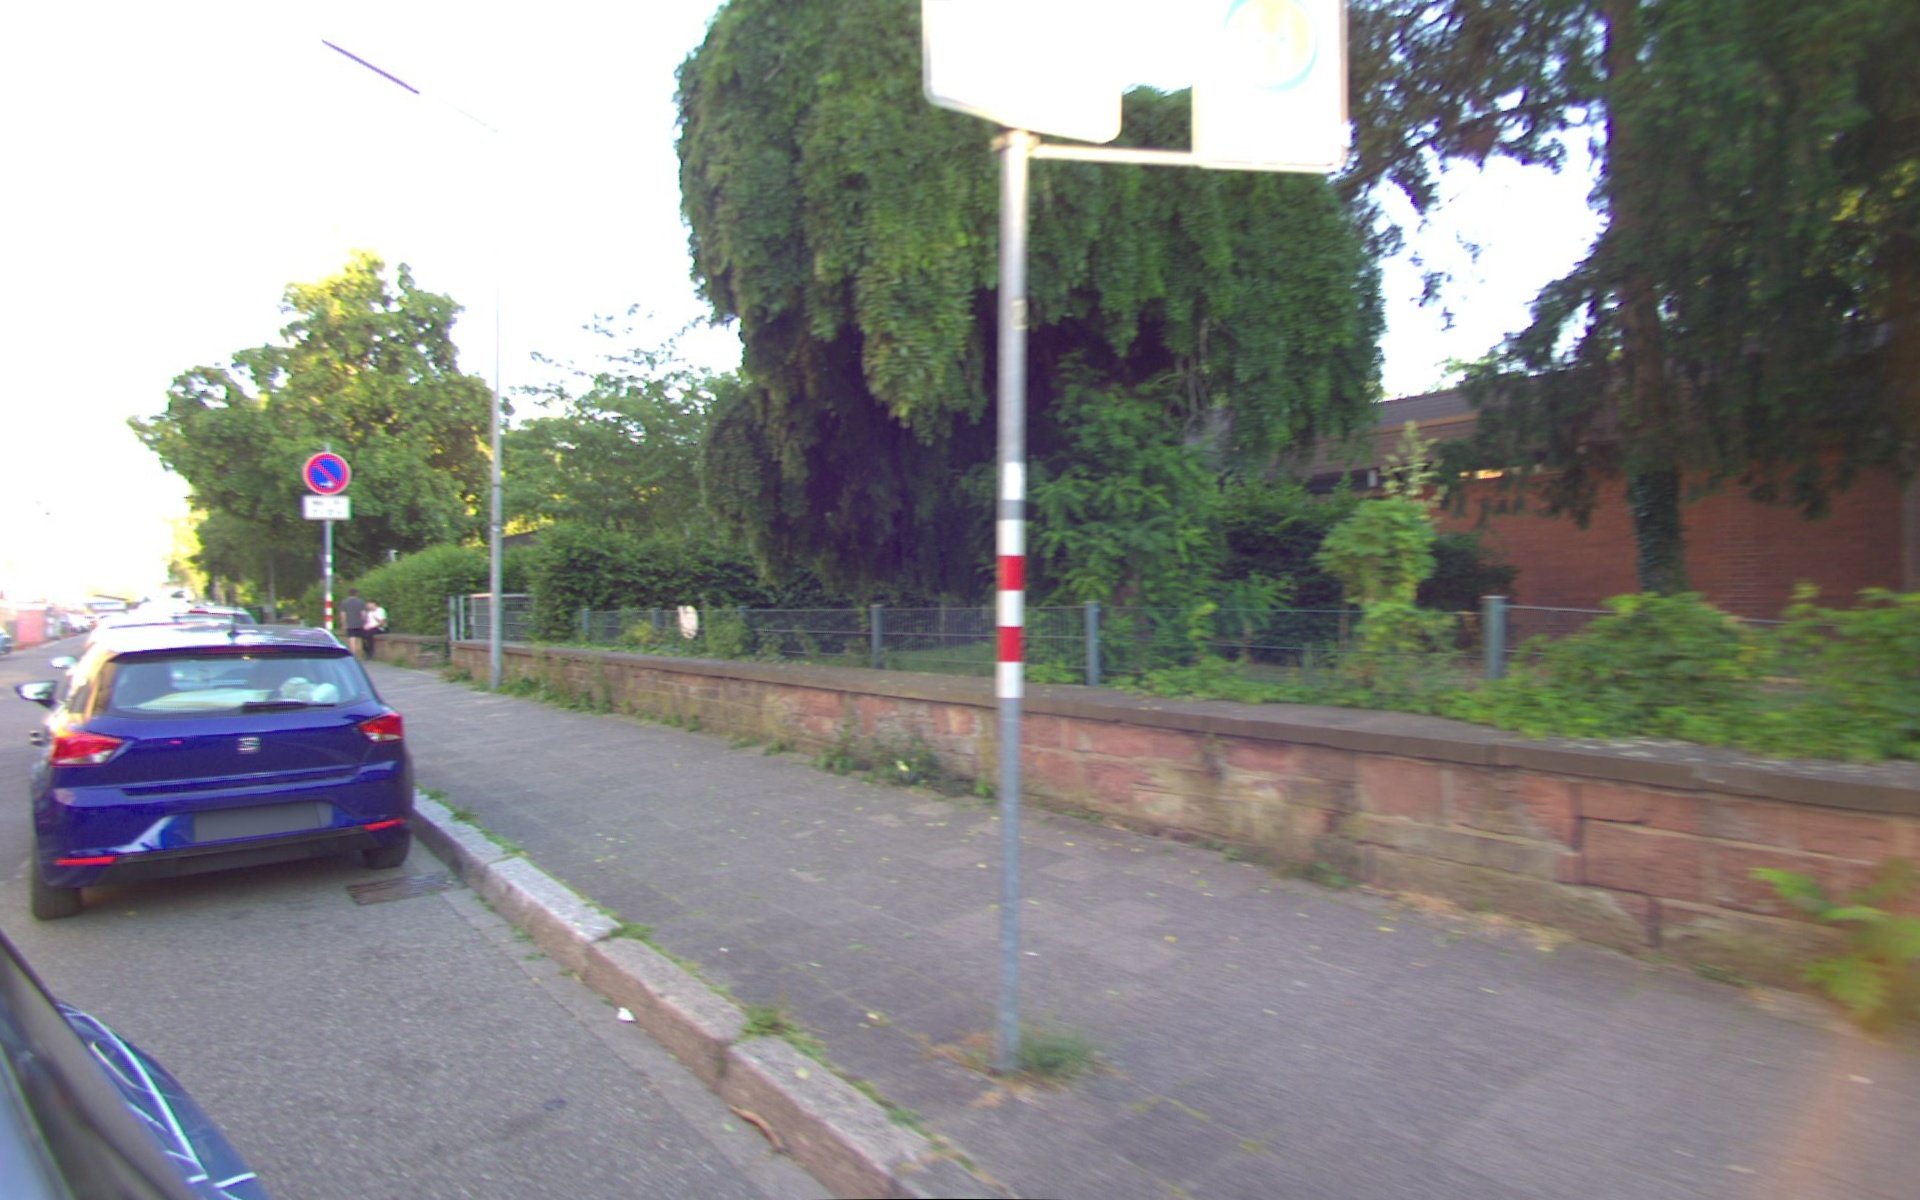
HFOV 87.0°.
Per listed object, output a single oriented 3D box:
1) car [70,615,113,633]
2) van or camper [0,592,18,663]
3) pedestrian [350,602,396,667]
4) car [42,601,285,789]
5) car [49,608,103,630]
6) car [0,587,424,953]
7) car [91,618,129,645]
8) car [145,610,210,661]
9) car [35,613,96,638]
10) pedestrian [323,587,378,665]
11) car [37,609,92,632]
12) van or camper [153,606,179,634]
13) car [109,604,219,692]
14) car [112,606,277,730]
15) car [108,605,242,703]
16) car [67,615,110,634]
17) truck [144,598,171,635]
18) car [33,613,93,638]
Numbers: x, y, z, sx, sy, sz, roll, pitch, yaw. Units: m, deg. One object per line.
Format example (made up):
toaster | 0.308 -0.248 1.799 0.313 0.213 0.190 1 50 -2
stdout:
car | -109.314 3.022 127.418 3.936 2.028 2.004 -3 1 -39
van or camper | -36.585 0.975 34.777 5.981 2.523 2.054 0 -1 -38
pedestrian | -14.527 0.838 25.038 0.739 1.519 0.903 -6 3 -40
car | -8.243 0.829 10.542 1.711 1.579 3.704 0 -1 -39
car | -89.546 1.945 102.583 3.936 2.028 2.004 -3 1 -39
car | -4.803 0.762 6.354 1.712 1.579 3.796 0 -1 -41
car | -54.083 1.998 64.450 1.711 1.643 4.133 0 -1 -38
car | -27.189 1.190 35.195 1.711 1.643 3.989 0 -1 -38
car | -80.712 2.284 91.407 3.936 2.028 2.004 -3 1 -39
pedestrian | -14.282 0.597 23.713 0.888 1.745 0.752 -6 3 -40
car | -88.129 1.974 99.661 3.936 2.028 2.004 -3 1 -39
van or camper | -71.765 1.794 91.415 1.797 2.433 4.299 0 -1 -39
car | -17.651 0.990 22.375 1.712 1.743 4.329 0 -1 -41
car | -11.564 0.912 15.178 1.712 1.579 4.135 0 -1 -41
car | -14.513 0.922 18.624 1.712 1.579 4.173 0 -1 -41
car | -107.945 3.008 125.400 3.936 2.028 2.004 -3 1 -39
truck | -89.016 1.844 112.327 2.149 3.911 4.936 -3 1 -38
car | -82.567 2.322 93.192 3.936 2.028 2.004 -3 1 -39
